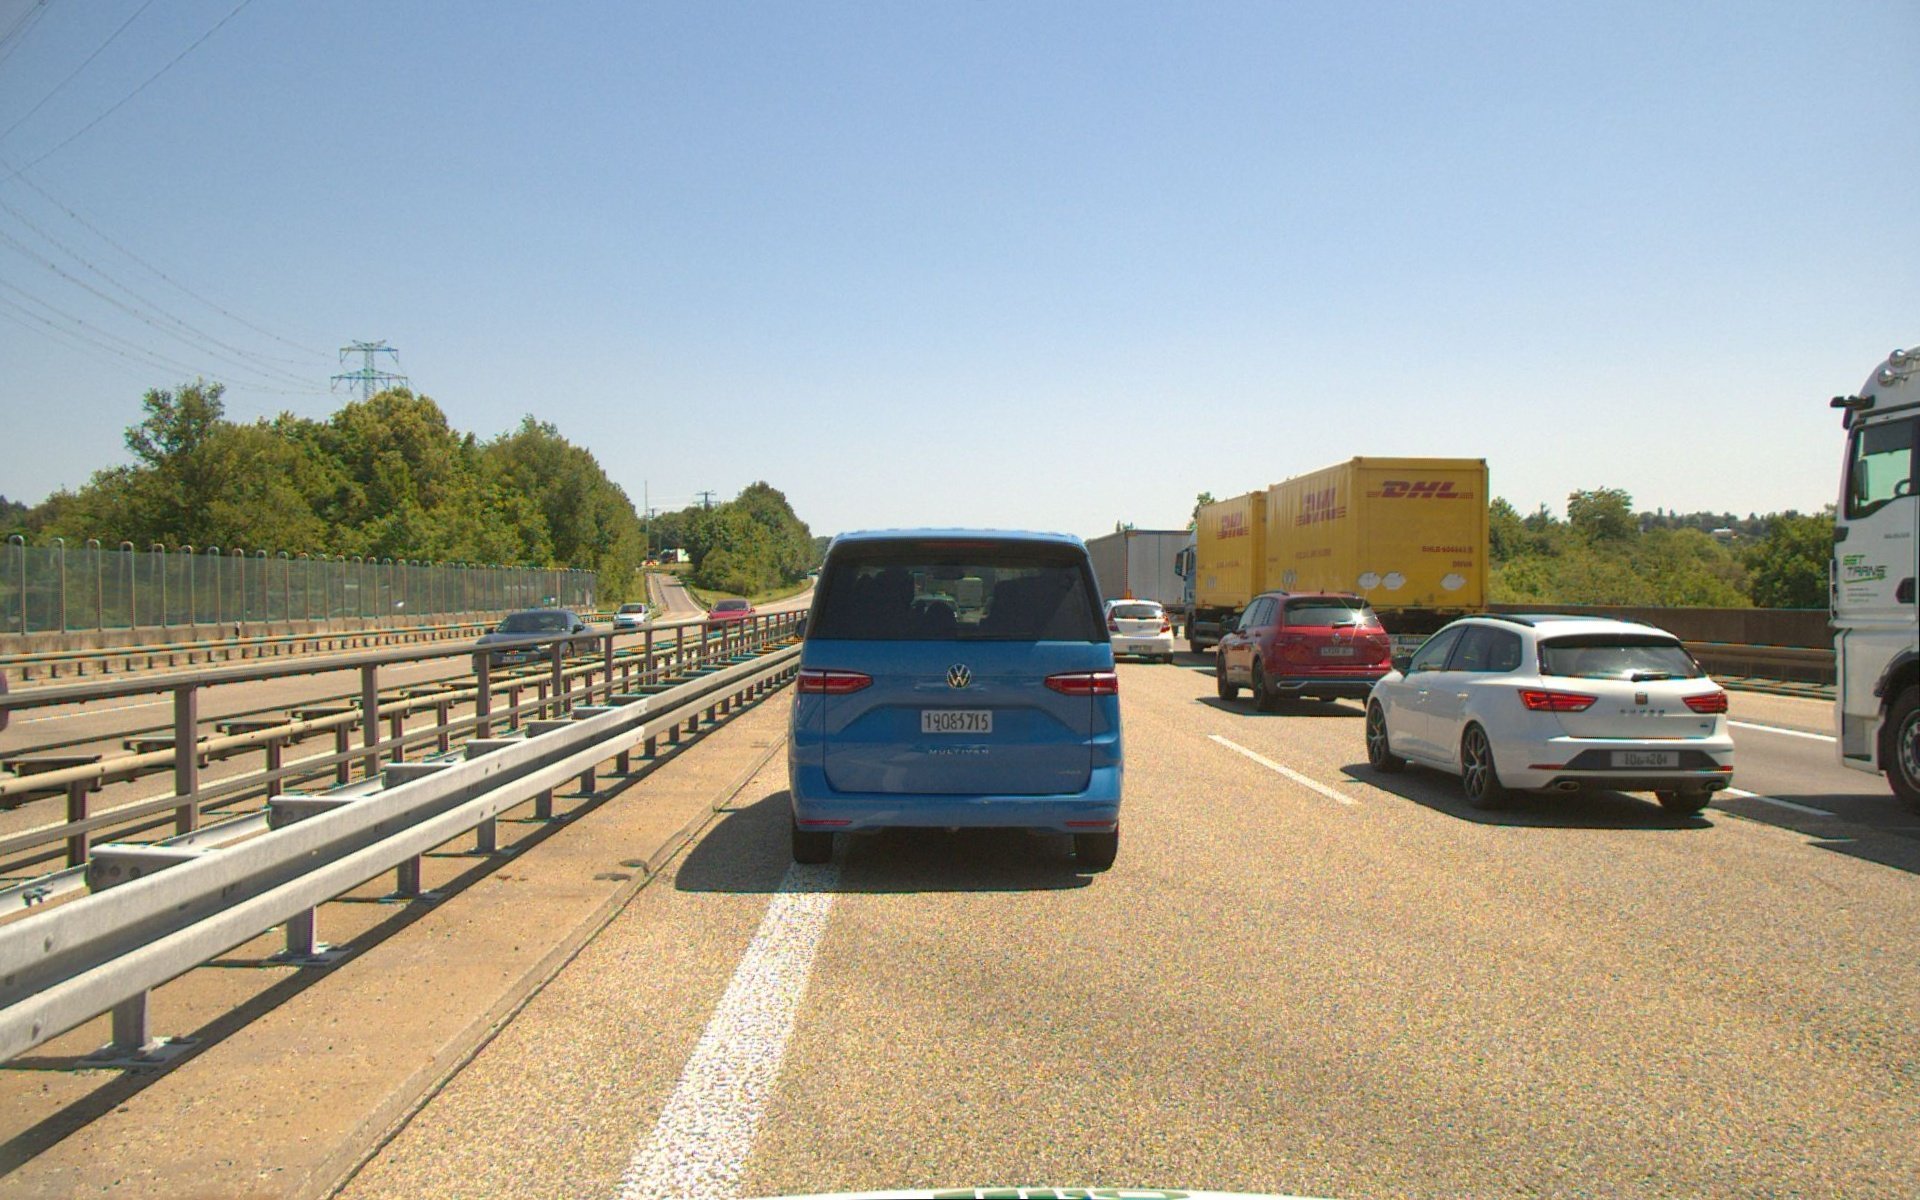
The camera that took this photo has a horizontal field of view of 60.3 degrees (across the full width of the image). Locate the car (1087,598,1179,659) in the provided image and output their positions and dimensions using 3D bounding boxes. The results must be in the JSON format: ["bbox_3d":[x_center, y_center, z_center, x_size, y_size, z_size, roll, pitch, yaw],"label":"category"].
[{"bbox_3d":[4.236,0.676,40.955,1.801,1.438,3.999,0,0,-1],"label":"car"}]

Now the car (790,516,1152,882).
[{"bbox_3d":[0.024,0.510,10.487,1.844,1.869,3.999,0,0,-1],"label":"car"}]

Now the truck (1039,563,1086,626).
[{"bbox_3d":[6.358,-0.298,103.439,2.320,3.787,6.031,1,-1,-2],"label":"truck"}]

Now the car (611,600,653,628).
[{"bbox_3d":[-17.757,0.754,89.646,1.572,1.418,3.676,-2,0,-1],"label":"car"}]

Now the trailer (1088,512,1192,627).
[{"bbox_3d":[7.127,-1.085,67.188,2.699,4.219,11.308,1,-1,-1],"label":"trailer"}]

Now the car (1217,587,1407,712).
[{"bbox_3d":[4.951,0.646,23.782,1.813,1.636,3.999,1,0,-1],"label":"car"}]

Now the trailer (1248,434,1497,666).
[{"bbox_3d":[8.163,-0.855,34.062,2.647,4.094,8.927,1,-1,-2],"label":"trailer"}]

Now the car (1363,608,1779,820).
[{"bbox_3d":[4.672,0.788,13.341,1.745,1.411,4.187,0,0,-1],"label":"car"}]

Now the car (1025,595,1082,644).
[{"bbox_3d":[3.194,0.683,57.161,1.680,1.615,3.820,1,-1,-1],"label":"car"}]

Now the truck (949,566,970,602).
[{"bbox_3d":[-0.174,-2.501,265.591,2.777,5.467,12.548,1,-1,-3],"label":"truck"}]

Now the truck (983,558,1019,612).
[{"bbox_3d":[4.044,-1.442,164.915,2.777,5.128,11.140,1,-1,-3],"label":"truck"}]

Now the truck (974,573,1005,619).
[{"bbox_3d":[3.364,-0.390,189.929,2.777,5.128,11.810,1,-1,-3],"label":"truck"}]

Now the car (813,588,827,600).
[{"bbox_3d":[-20.887,-0.901,246.571,1.744,1.596,4.385,-2,0,-1],"label":"car"}]

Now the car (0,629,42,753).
[{"bbox_3d":[-11.908,1.028,17.749,1.764,1.410,4.262,1,-1,-1],"label":"car"}]

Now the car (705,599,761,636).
[{"bbox_3d":[-9.368,0.712,68.551,1.805,1.472,4.417,1,-1,-1],"label":"car"}]

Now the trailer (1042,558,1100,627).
[{"bbox_3d":[6.479,-0.345,97.945,2.331,3.809,11.184,1,-1,-2],"label":"trailer"}]

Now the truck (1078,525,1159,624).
[{"bbox_3d":[6.981,-1.037,73.690,2.712,4.167,6.981,1,-1,-2],"label":"truck"}]

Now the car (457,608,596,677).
[{"bbox_3d":[-9.130,0.863,35.184,1.858,1.338,4.370,1,-1,-1],"label":"car"}]

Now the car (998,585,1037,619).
[{"bbox_3d":[2.752,0.094,80.158,1.680,1.567,3.820,-1,0,-1],"label":"car"}]

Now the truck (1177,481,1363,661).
[{"bbox_3d":[7.905,-0.628,43.704,2.667,4.125,10.332,1,-1,-2],"label":"truck"}]

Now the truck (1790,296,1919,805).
[{"bbox_3d":[8.417,-0.363,8.288,2.793,3.666,10.764,1,0,-2],"label":"truck"}]
